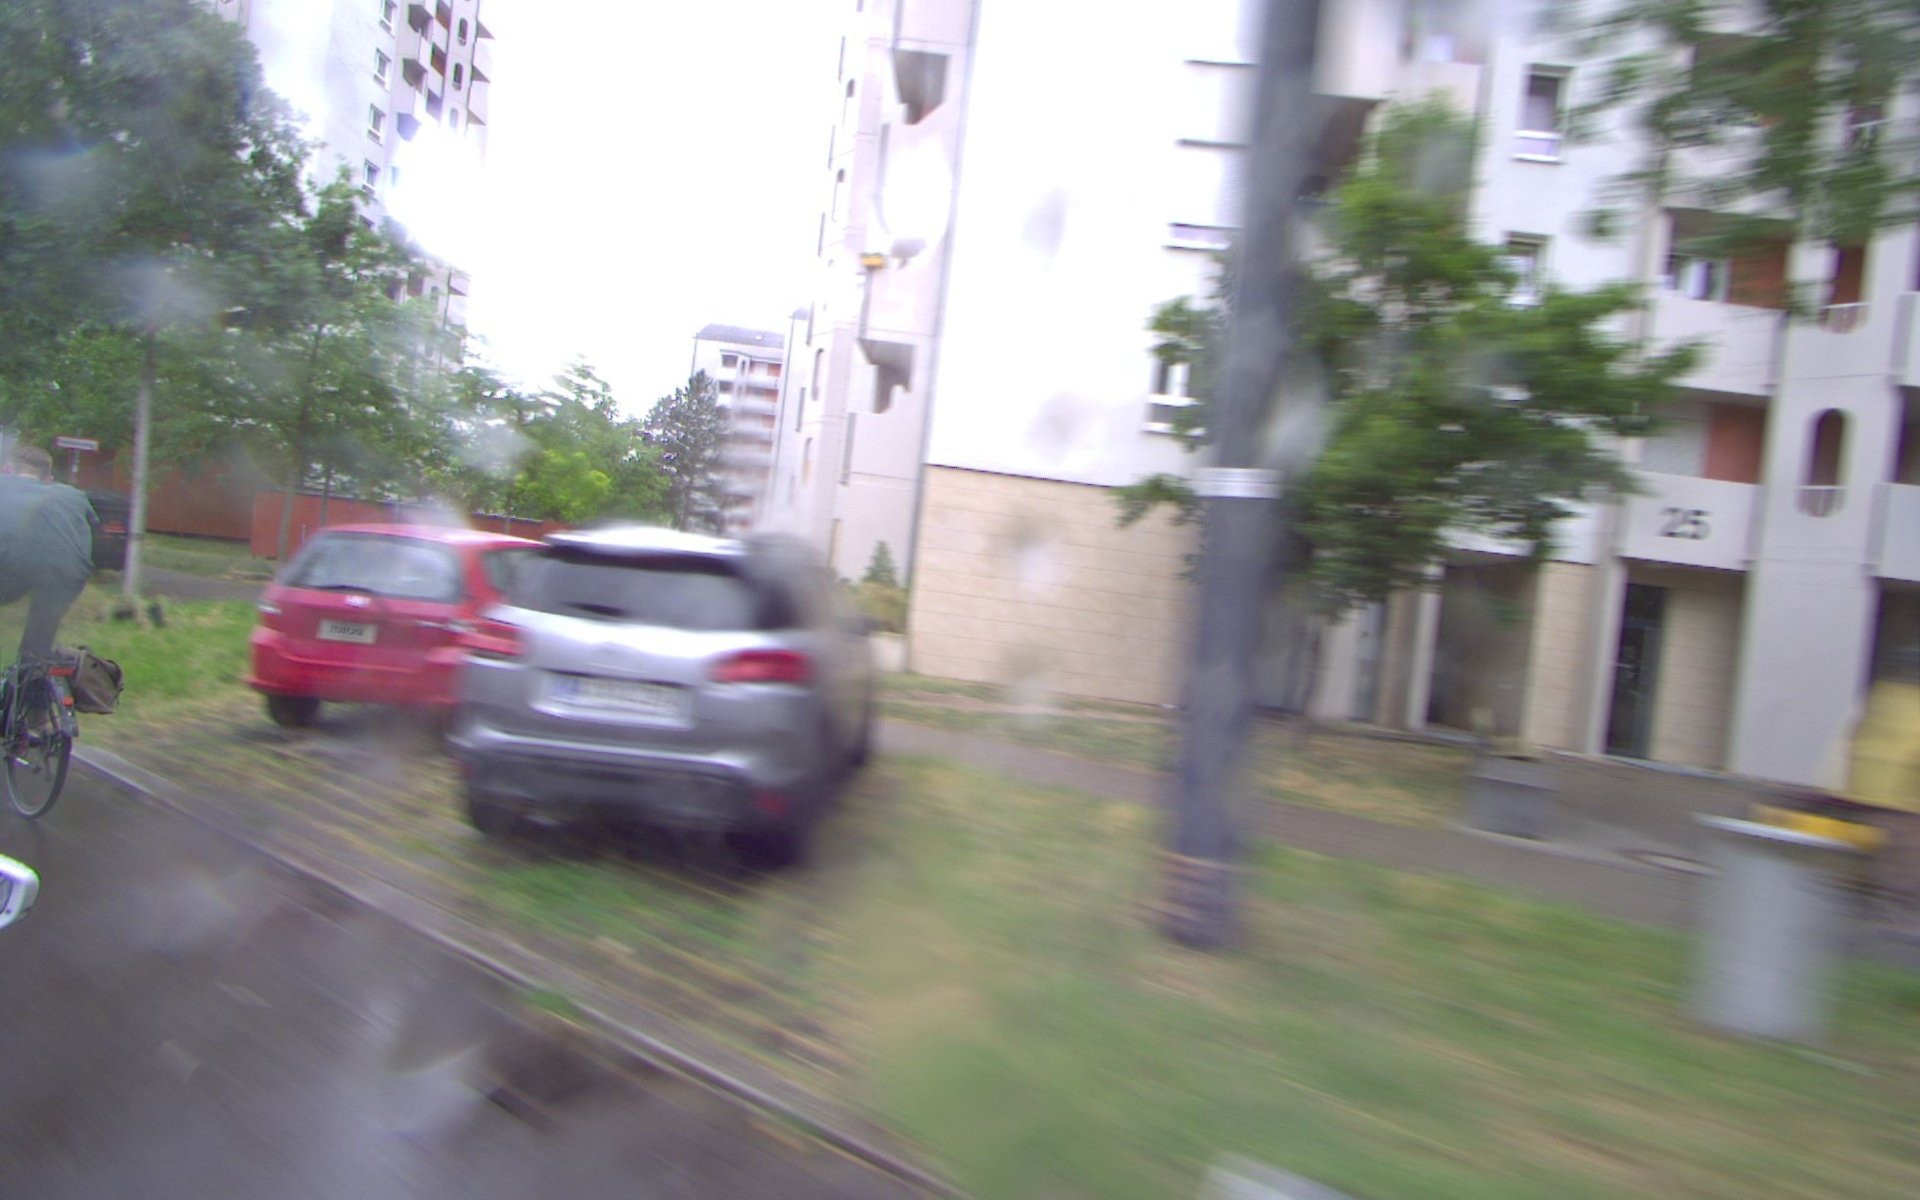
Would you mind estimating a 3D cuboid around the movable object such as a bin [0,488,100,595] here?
[{"bbox_3d":[-13.043,-0.825,13.538,1.374,1.344,1.685,7,3,11],"label":"movable object such as a bin"}]

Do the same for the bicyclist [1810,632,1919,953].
[{"bbox_3d":[5.320,1.041,5.366,0.929,1.614,0.735,7,2,32],"label":"bicyclist"}]

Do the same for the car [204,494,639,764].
[{"bbox_3d":[-4.138,0.120,8.522,1.701,1.588,3.879,6,2,-4],"label":"car"}]

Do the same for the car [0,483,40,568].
[{"bbox_3d":[-18.484,-1.474,17.056,1.843,1.538,4.225,7,0,-2],"label":"car"}]

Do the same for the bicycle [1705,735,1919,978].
[{"bbox_3d":[5.319,1.443,5.347,2.017,1.070,0.735,7,2,32],"label":"bicycle"}]

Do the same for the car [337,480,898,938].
[{"bbox_3d":[-1.602,0.386,6.351,1.963,1.742,4.142,7,3,0],"label":"car"}]

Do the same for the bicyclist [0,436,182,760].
[{"bbox_3d":[-4.619,-0.041,4.956,1.042,1.451,0.810,7,2,29],"label":"bicyclist"}]

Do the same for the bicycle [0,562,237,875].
[{"bbox_3d":[-4.718,0.448,4.994,2.474,1.111,0.810,7,1,29],"label":"bicycle"}]

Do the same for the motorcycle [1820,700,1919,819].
[{"bbox_3d":[12.327,2.069,12.639,2.262,1.305,0.884,7,1,-6],"label":"motorcycle"}]

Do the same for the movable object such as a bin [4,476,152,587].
[{"bbox_3d":[-13.619,-1.026,15.580,1.068,1.540,1.247,6,2,5],"label":"movable object such as a bin"}]
